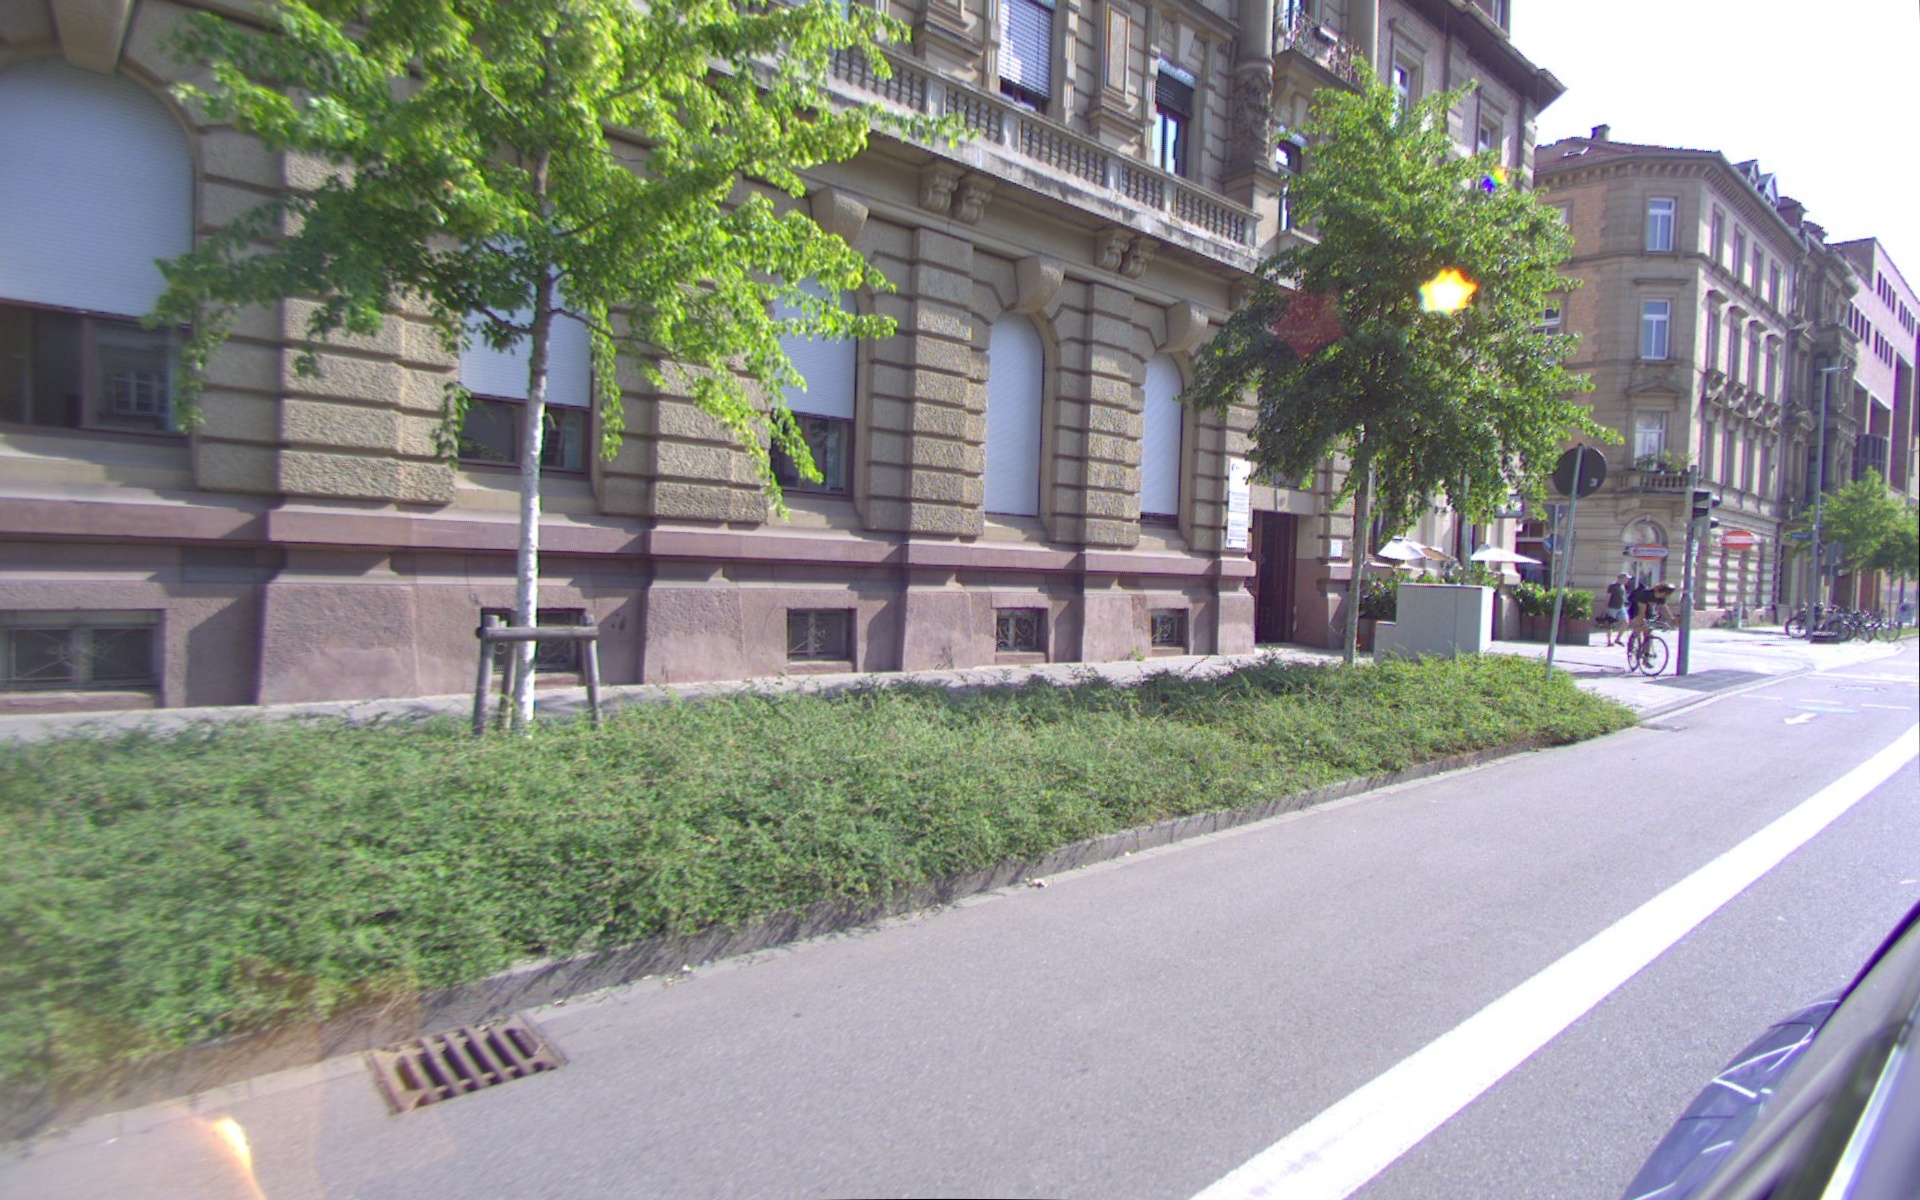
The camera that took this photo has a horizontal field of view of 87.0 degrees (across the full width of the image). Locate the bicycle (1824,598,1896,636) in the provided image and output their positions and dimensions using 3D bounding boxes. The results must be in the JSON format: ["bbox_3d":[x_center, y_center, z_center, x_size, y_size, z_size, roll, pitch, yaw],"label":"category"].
[{"bbox_3d":[31.421,0.579,35.365,1.755,1.100,0.648,7,5,41],"label":"bicycle"}]

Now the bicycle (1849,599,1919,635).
[{"bbox_3d":[32.879,0.590,36.016,1.755,1.100,0.602,7,5,41],"label":"bicycle"}]

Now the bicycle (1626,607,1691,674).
[{"bbox_3d":[11.967,0.658,17.378,0.501,0.964,1.771,4,4,23],"label":"bicycle"}]

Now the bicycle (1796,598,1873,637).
[{"bbox_3d":[28.445,0.550,32.947,0.572,1.100,1.759,1,4,-37],"label":"bicycle"}]

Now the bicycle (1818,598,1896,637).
[{"bbox_3d":[29.642,0.573,33.466,0.656,1.100,1.763,1,5,-35],"label":"bicycle"}]

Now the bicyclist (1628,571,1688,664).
[{"bbox_3d":[12.001,0.284,17.420,0.579,1.500,0.924,4,4,23],"label":"bicyclist"}]

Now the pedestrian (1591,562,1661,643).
[{"bbox_3d":[15.918,0.051,24.204,0.972,1.828,0.866,3,1,-14],"label":"pedestrian"}]

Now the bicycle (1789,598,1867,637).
[{"bbox_3d":[27.946,0.556,32.623,0.572,1.100,1.759,1,4,-37],"label":"bicycle"}]

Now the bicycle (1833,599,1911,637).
[{"bbox_3d":[30.852,0.593,34.272,1.745,1.100,0.666,6,4,28],"label":"bicycle"}]
